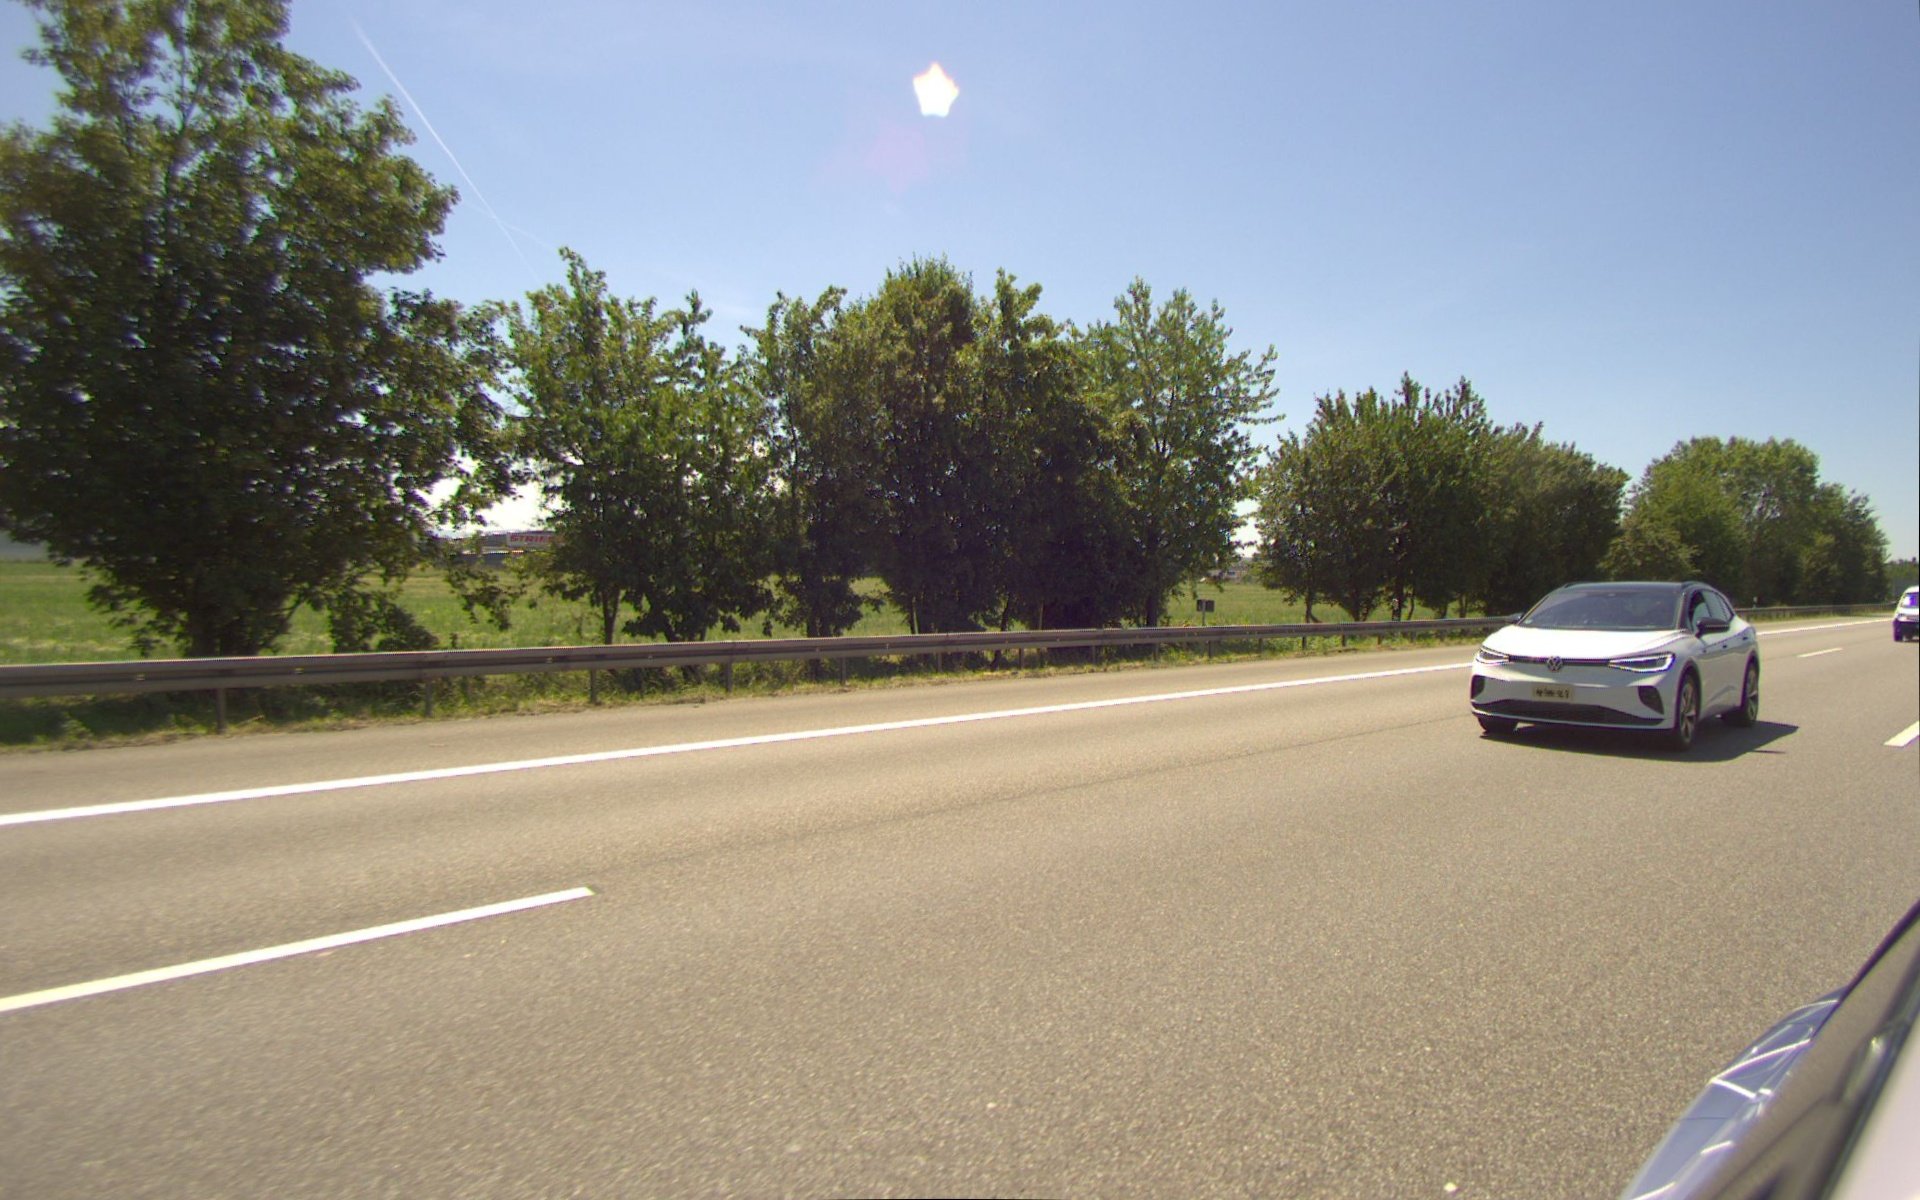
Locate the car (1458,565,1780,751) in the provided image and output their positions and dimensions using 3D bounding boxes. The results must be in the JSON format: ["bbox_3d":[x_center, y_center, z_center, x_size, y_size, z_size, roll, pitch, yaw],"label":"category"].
[{"bbox_3d":[7.244,0.500,10.955,4.304,1.623,1.805,0,0,-41],"label":"car"}]

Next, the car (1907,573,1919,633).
[{"bbox_3d":[32.190,0.096,32.834,4.623,1.886,1.855,0,0,-43],"label":"car"}]
